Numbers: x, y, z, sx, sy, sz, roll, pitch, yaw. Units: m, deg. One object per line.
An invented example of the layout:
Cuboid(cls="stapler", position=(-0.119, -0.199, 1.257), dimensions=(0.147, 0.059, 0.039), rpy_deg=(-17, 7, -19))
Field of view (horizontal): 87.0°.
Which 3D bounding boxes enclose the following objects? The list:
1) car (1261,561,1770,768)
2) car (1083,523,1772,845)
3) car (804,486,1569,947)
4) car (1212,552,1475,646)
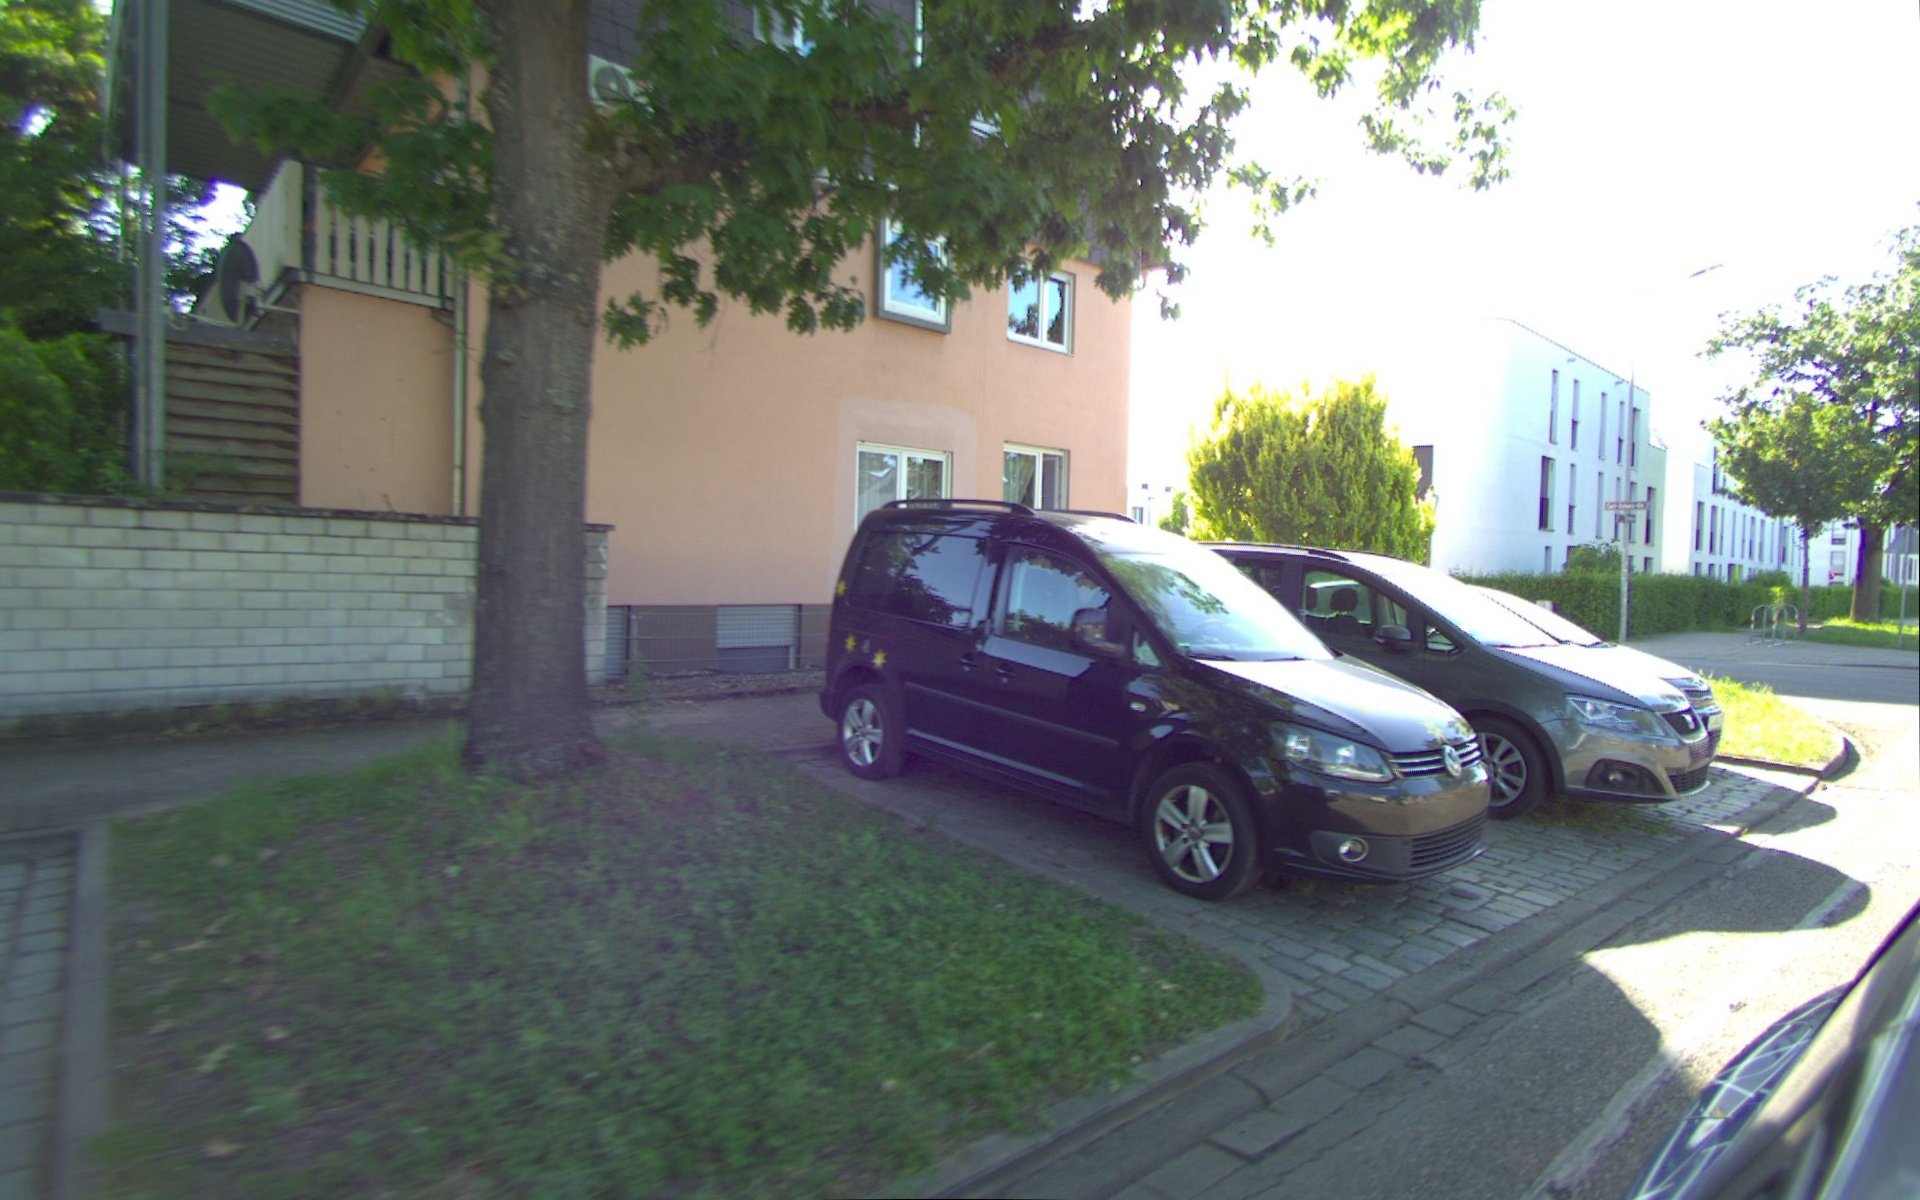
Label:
Cuboid(cls="car", position=(5.159, 0.438, 9.848), dimensions=(1.654, 1.377, 3.955), rpy_deg=(0, 5, -41))
Cuboid(cls="car", position=(3.305, 0.337, 7.987), dimensions=(1.847, 1.699, 4.513), rpy_deg=(-1, 5, -41))
Cuboid(cls="car", position=(0.962, 0.282, 6.102), dimensions=(1.758, 1.803, 4.222), rpy_deg=(0, 5, -41))
Cuboid(cls="car", position=(8.441, -0.134, 22.682), dimensions=(1.882, 1.837, 5.199), rpy_deg=(-2, 3, -44))
